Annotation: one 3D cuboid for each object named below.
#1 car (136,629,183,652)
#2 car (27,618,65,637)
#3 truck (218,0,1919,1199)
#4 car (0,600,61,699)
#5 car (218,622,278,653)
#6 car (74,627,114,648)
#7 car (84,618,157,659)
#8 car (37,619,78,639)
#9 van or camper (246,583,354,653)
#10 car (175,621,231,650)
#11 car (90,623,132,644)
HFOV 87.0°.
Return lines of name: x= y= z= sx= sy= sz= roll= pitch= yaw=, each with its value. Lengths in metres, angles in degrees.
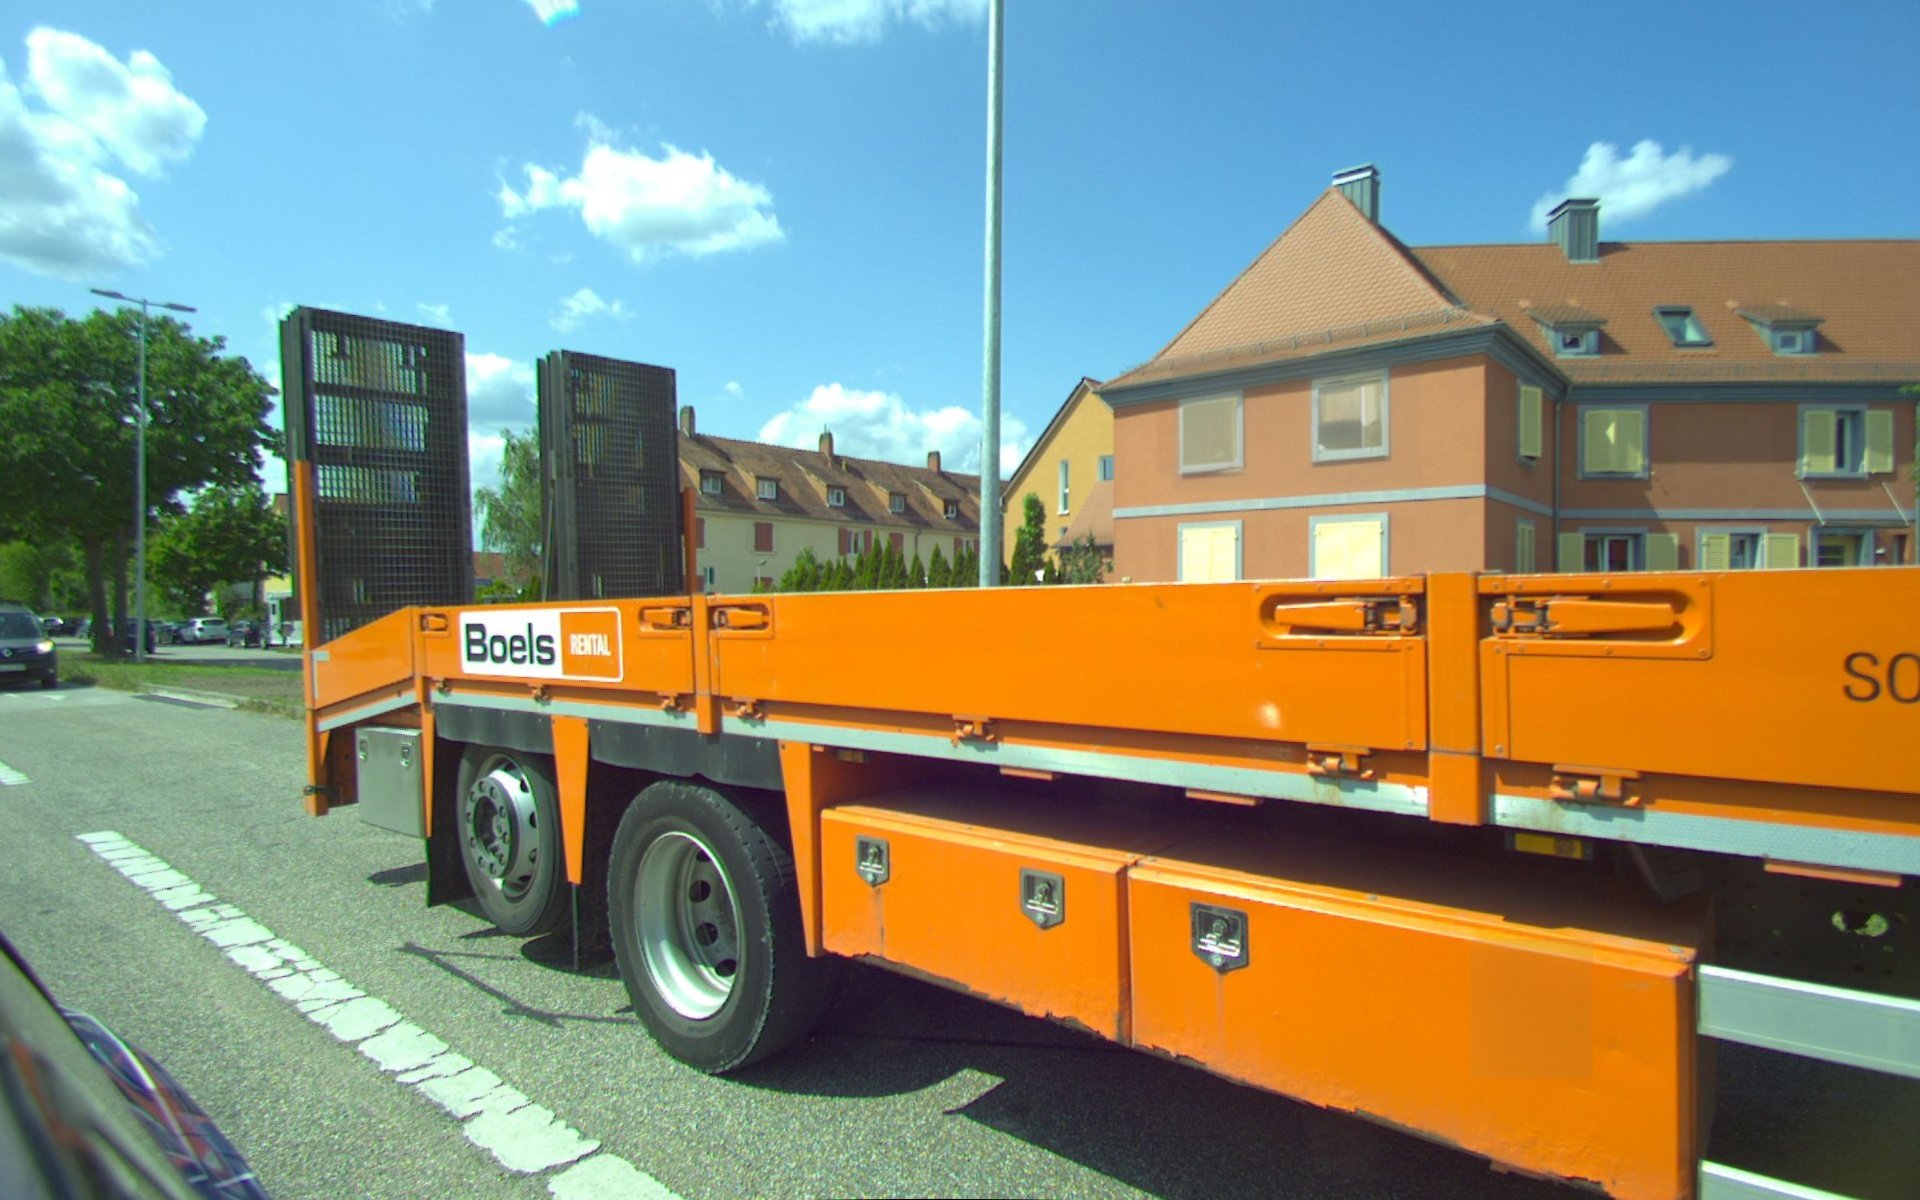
car: x=-53.013 y=2.670 z=66.966 sx=4.527 sy=1.380 sz=1.496 roll=-1 pitch=1 yaw=40
car: x=-77.616 y=2.337 z=85.917 sx=3.840 sy=1.462 sz=1.645 roll=0 pitch=2 yaw=37
truck: x=1.060 y=-0.389 z=3.159 sx=11.063 sy=3.439 sz=3.039 roll=0 pitch=2 yaw=41
car: x=-20.822 y=0.998 z=21.587 sx=4.537 sy=1.918 sz=1.746 roll=0 pitch=2 yaw=39
car: x=-37.785 y=1.962 z=53.680 sx=3.989 sy=1.496 sz=1.620 roll=0 pitch=2 yaw=40
car: x=-64.999 y=2.811 z=75.965 sx=3.472 sy=1.405 sz=1.548 roll=0 pitch=2 yaw=38
car: x=-36.942 y=1.654 z=44.506 sx=3.997 sy=1.702 sz=1.776 roll=-1 pitch=-1 yaw=40
car: x=-72.160 y=2.290 z=80.921 sx=4.096 sy=1.492 sz=1.645 roll=-1 pitch=1 yaw=37
van or camper: x=-32.324 y=0.880 z=49.465 sx=7.312 sy=3.135 sz=2.237 roll=-2 pitch=1 yaw=39
car: x=-44.247 y=2.065 z=59.140 sx=4.120 sy=1.496 sz=1.672 roll=0 pitch=2 yaw=40
car: x=-61.456 y=2.420 z=73.263 sx=4.350 sy=1.405 sz=1.389 roll=-1 pitch=1 yaw=38
